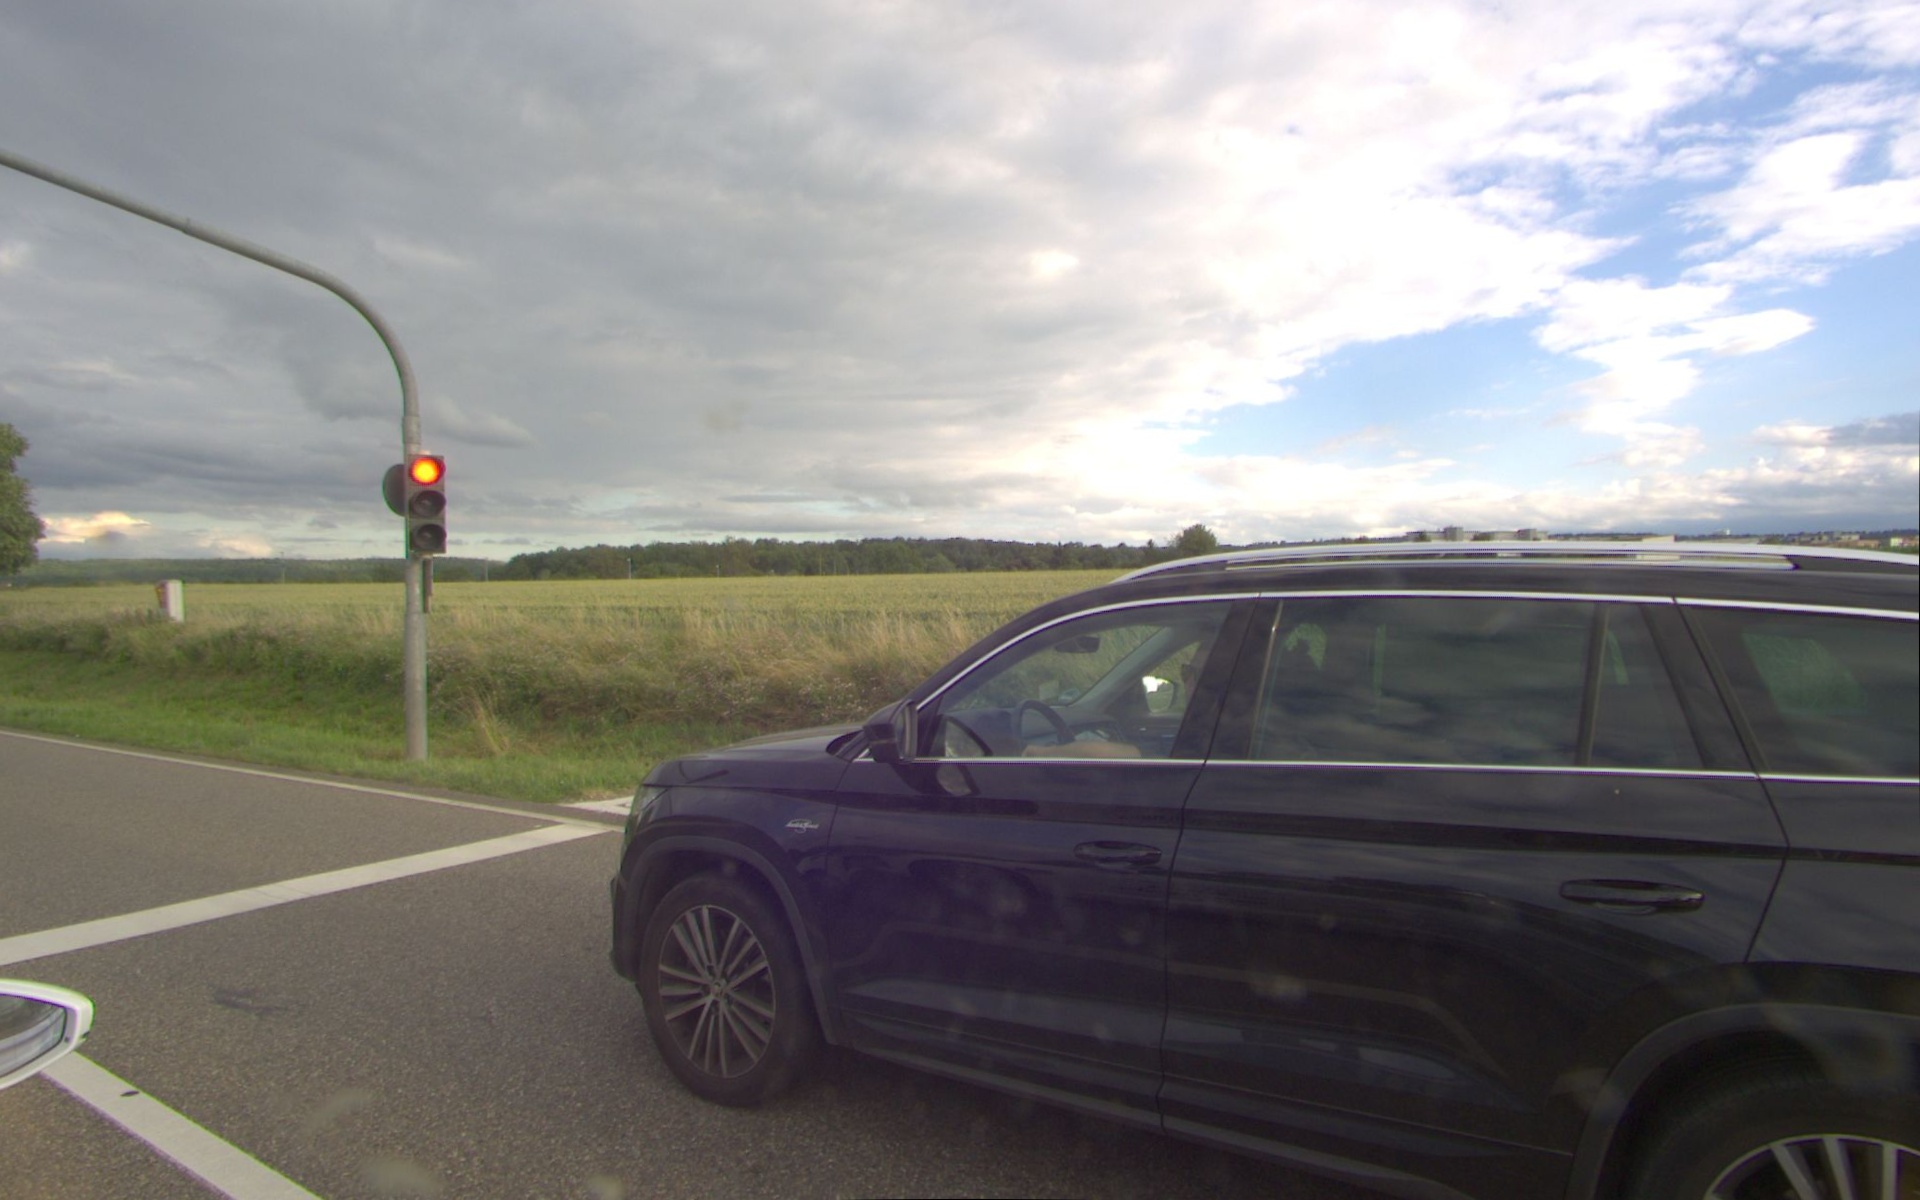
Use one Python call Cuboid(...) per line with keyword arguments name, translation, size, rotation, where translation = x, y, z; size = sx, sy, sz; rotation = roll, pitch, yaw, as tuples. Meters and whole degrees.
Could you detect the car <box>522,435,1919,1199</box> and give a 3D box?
Cuboid(name="car", translation=(0.843, 0.664, 3.086), size=(4.492, 1.730, 1.833), rotation=(-1, -2, 32))
